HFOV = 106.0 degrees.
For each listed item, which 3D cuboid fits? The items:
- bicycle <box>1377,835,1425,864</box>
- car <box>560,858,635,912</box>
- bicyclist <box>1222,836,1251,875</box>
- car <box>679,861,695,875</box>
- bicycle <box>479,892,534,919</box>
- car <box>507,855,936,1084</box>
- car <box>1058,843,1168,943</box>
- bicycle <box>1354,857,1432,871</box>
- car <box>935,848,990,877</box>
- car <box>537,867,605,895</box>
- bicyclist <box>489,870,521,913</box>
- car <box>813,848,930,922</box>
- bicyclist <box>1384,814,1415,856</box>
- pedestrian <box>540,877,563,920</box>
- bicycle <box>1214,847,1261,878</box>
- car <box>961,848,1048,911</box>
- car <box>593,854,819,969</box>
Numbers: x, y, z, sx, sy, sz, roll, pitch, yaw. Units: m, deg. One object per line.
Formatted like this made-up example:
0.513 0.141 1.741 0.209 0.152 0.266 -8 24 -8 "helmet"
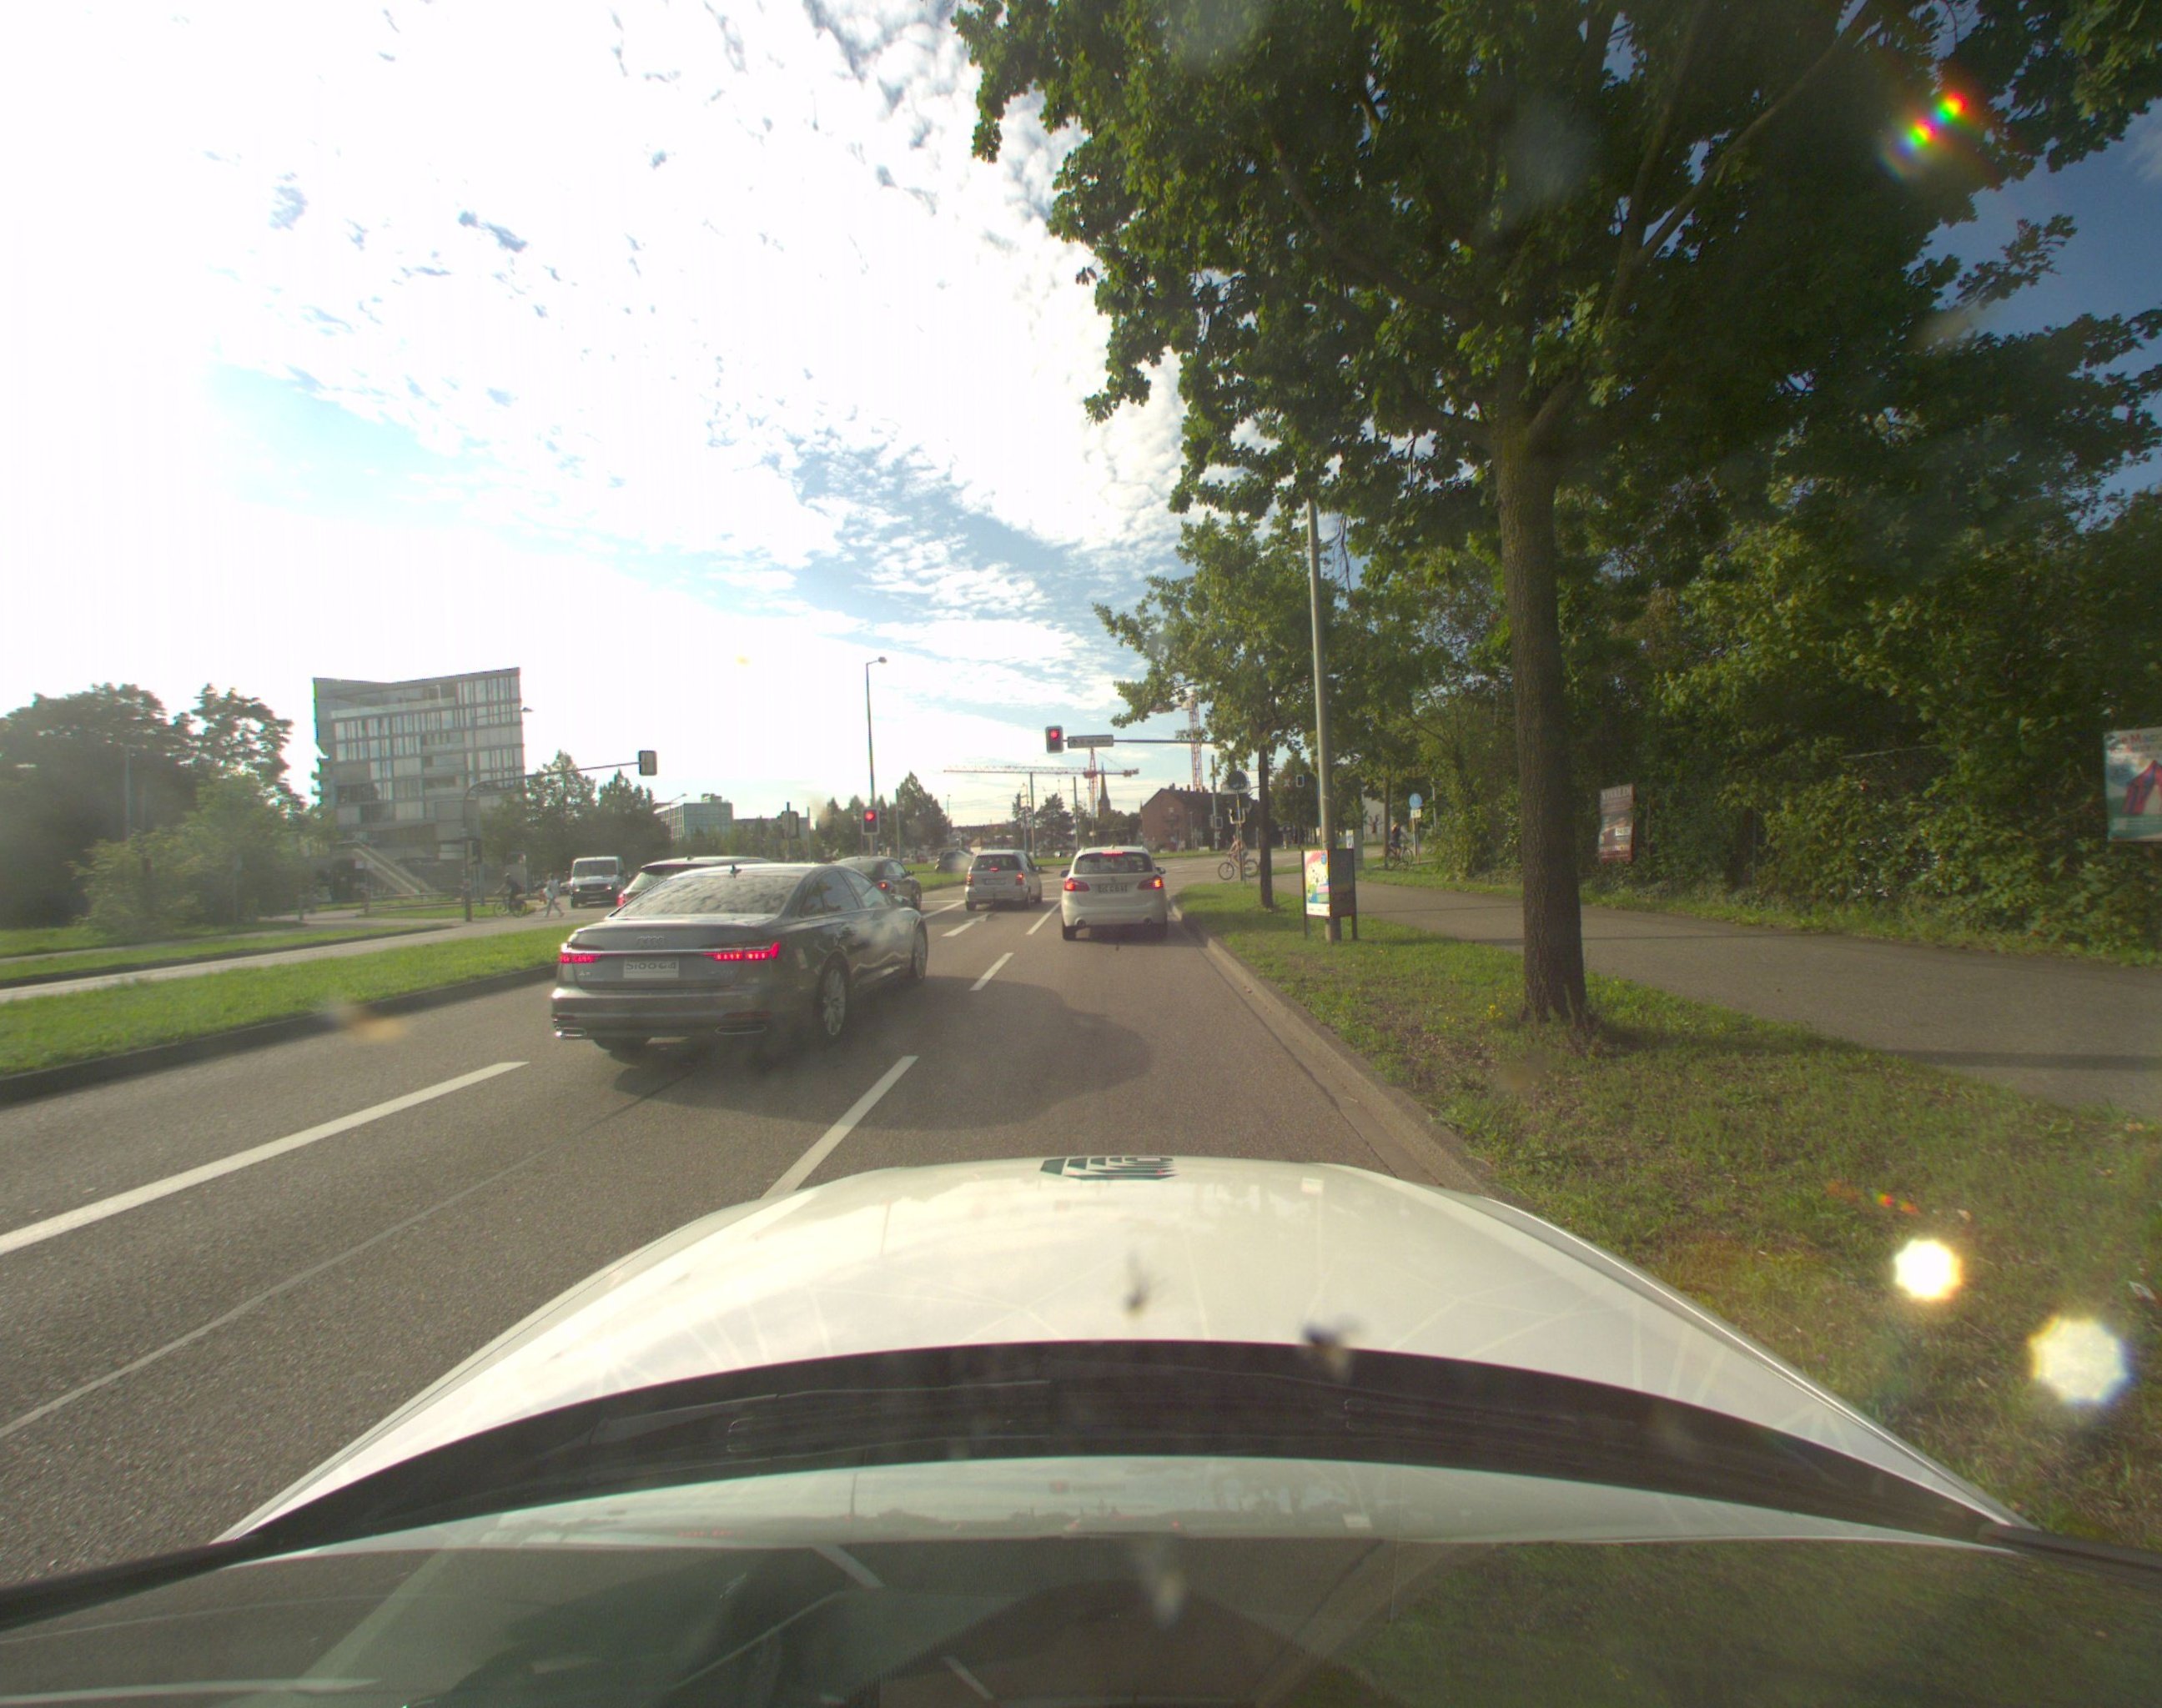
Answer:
12.843 -0.169 32.690 1.778 1.050 0.705 -3 0 -22 "bicycle"
-22.981 1.429 38.943 2.001 2.235 5.882 -5 0 -21 "car"
6.352 0.074 33.210 0.850 1.526 0.737 -3 0 -15 "bicyclist"
-47.987 1.769 99.229 1.600 1.415 3.638 -5 -1 -25 "car"
-23.216 2.065 32.922 1.670 0.967 0.643 -3 0 -4 "bicycle"
-2.827 0.777 7.765 1.883 1.483 4.614 -2 0 2 "car"
0.575 0.617 15.111 1.723 1.558 4.060 -2 0 2 "car"
10.755 0.351 28.219 1.407 0.385 2.568 -3 0 -9 "bicycle"
-7.284 0.493 50.187 3.182 1.574 1.573 -3 1 -4 "car"
-41.474 2.201 66.336 1.804 2.014 4.263 -4 -1 29 "car"
-23.287 1.522 32.932 0.786 1.668 0.549 -3 0 -3 "bicyclist"
-5.013 0.675 20.031 1.714 1.564 3.880 -1 1 2 "car"
12.766 -0.755 32.669 0.833 1.647 0.681 -3 0 -22 "bicyclist"
-19.944 1.663 30.696 0.659 1.569 0.609 -3 0 -32 "pedestrian"
6.390 0.355 33.214 1.728 1.163 0.652 -3 0 -15 "bicycle"
-2.022 0.626 22.601 1.722 1.558 4.062 -1 0 4 "car"
-5.945 0.812 13.512 1.722 1.558 4.021 -2 0 2 "car"
